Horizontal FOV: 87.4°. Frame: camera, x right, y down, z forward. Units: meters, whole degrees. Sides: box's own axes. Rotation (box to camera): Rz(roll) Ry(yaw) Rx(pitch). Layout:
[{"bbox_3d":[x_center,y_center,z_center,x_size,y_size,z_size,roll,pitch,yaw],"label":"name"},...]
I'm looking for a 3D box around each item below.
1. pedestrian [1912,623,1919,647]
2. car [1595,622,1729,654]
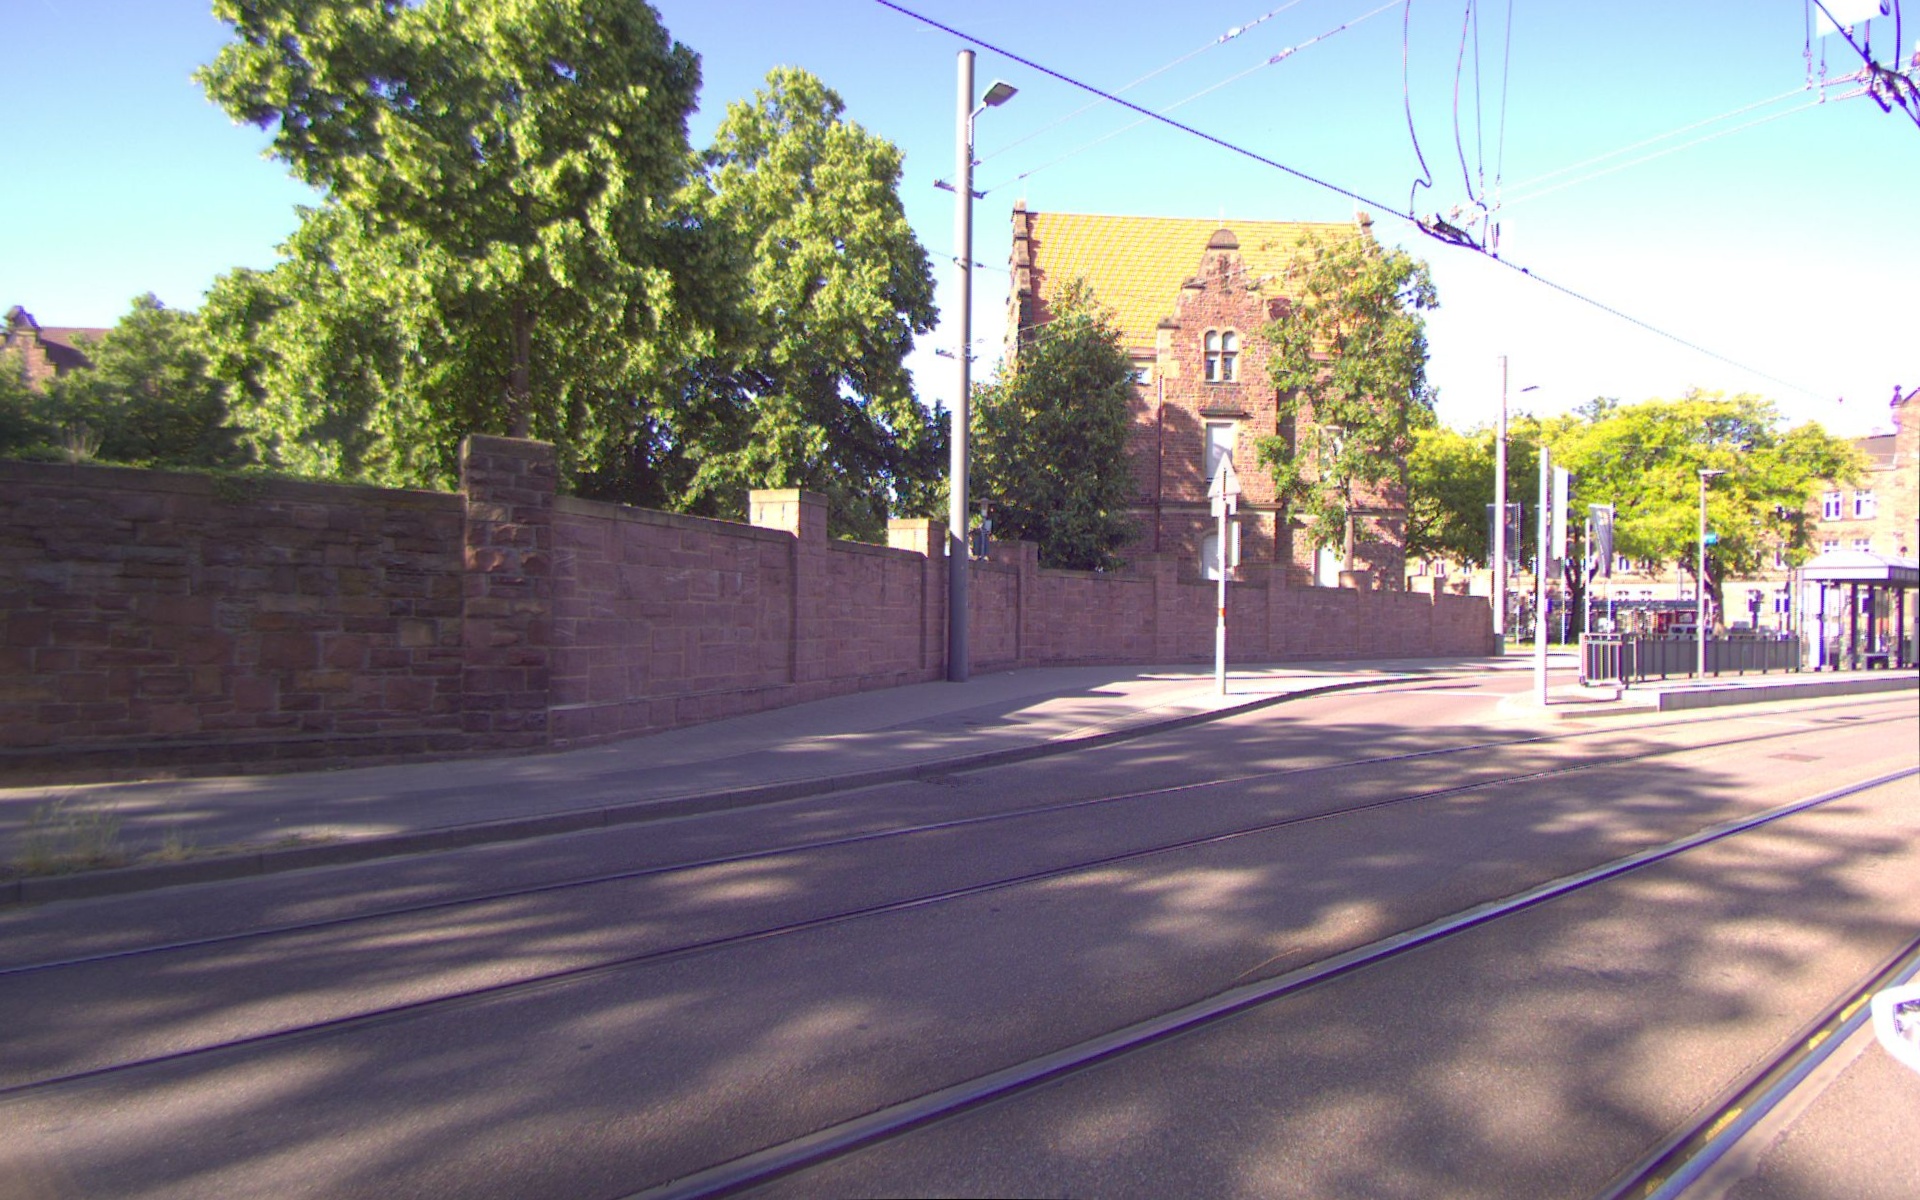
[{"bbox_3d":[64.620,2.340,67.420,0.797,1.609,0.925,2,0,-37],"label":"pedestrian"},{"bbox_3d":[47.932,2.581,68.801,2.957,1.946,6.915,1,-1,-30],"label":"car"}]
